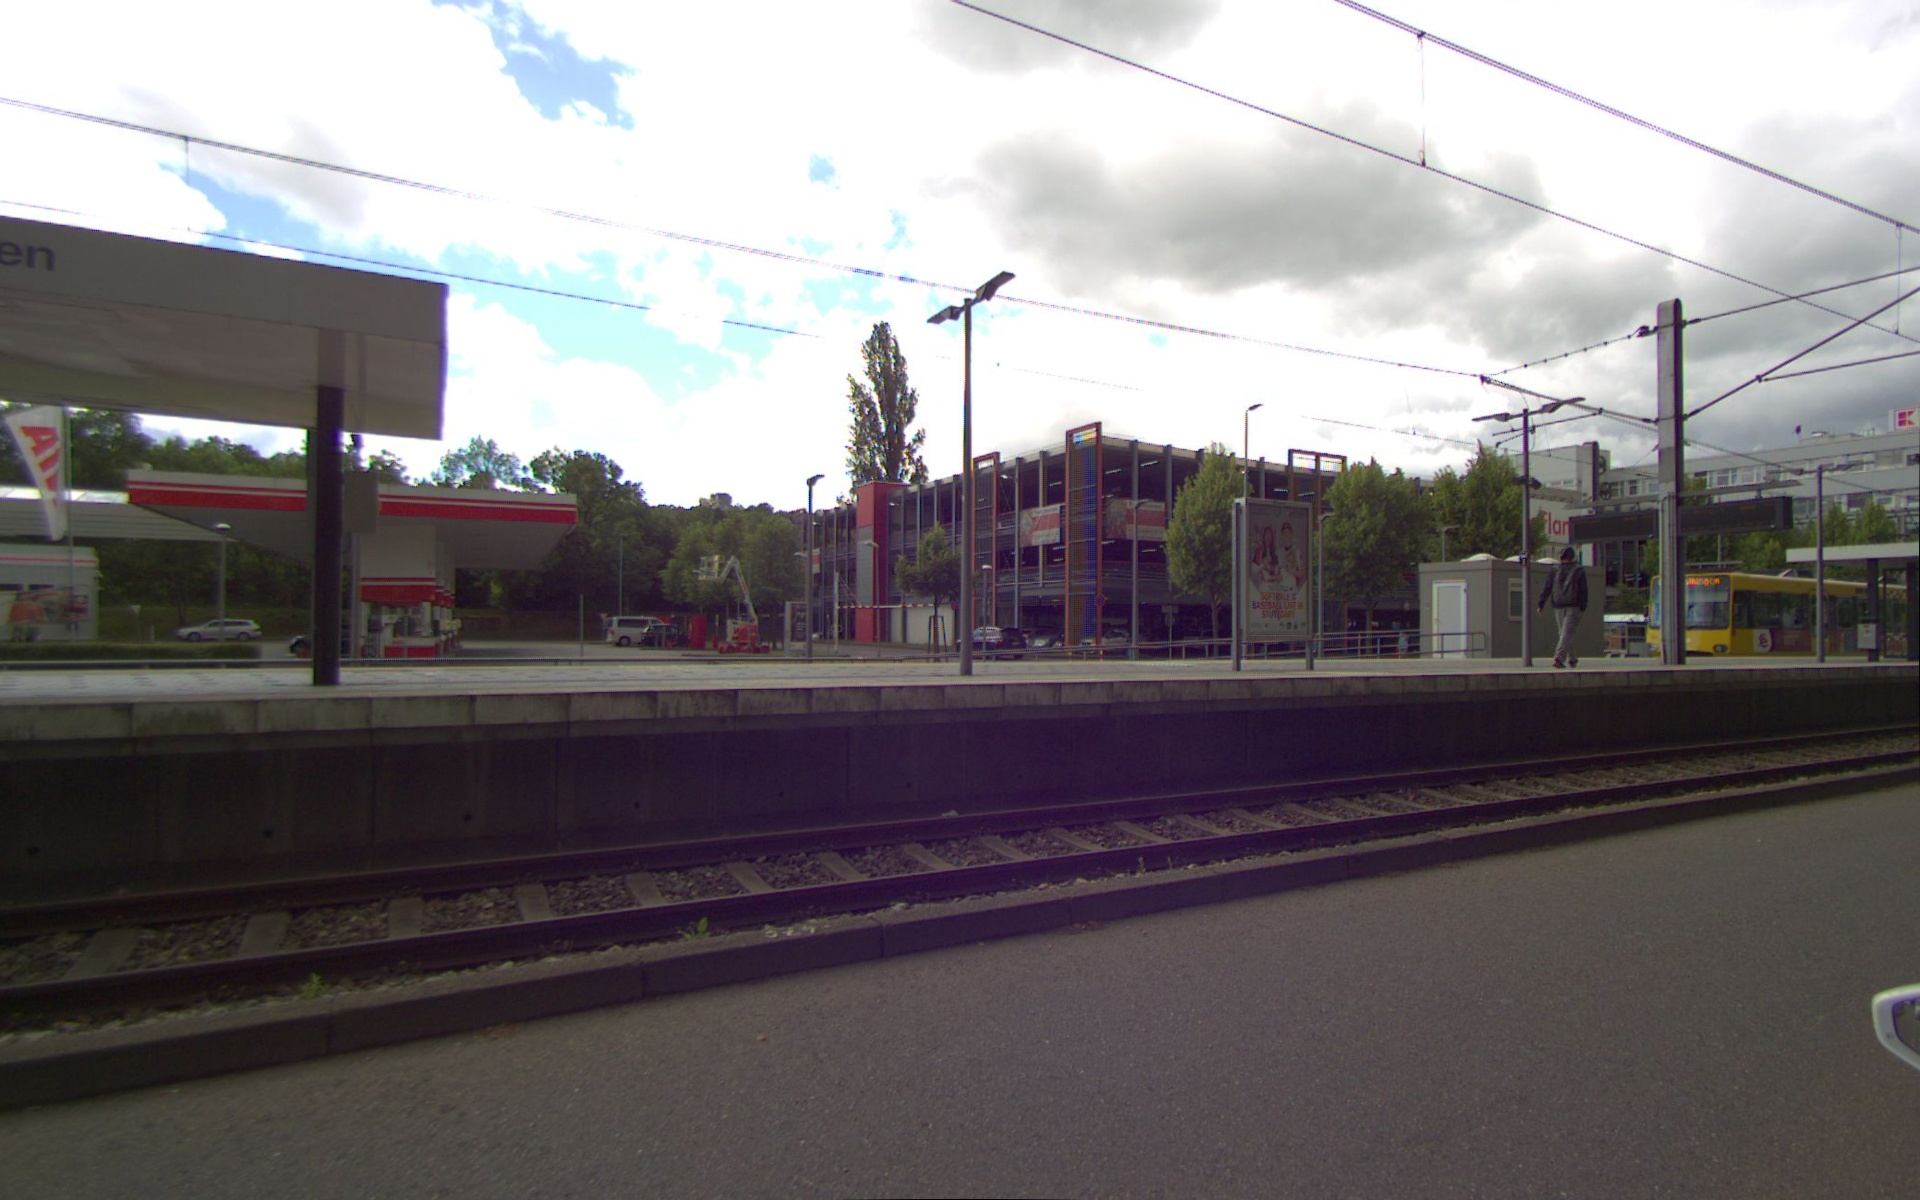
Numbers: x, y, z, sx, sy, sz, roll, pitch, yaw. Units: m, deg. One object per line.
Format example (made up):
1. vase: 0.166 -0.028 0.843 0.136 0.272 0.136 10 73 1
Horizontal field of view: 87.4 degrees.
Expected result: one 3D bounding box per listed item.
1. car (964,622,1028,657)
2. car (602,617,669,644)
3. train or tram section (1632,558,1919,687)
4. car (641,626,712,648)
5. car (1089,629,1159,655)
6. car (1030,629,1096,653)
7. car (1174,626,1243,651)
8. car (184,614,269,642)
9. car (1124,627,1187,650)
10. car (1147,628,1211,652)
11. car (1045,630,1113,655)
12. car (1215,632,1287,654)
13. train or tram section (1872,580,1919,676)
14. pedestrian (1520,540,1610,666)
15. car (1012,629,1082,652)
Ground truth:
1. car: 1.778 1.978 51.302 1.625 1.728 3.785 1 -2 -28
2. car: -21.961 2.103 68.011 4.014 1.775 1.900 2 -3 -32
3. train or tram section: 30.887 0.943 36.391 18.404 3.933 2.745 1 -3 -29
4. car: -18.182 2.383 64.468 4.013 1.383 1.900 2 -3 -31
5. car: 8.718 2.235 53.281 3.500 1.327 1.528 2 -3 -30
6. car: 5.859 2.327 56.904 3.500 1.327 1.527 1 -2 -30
7. car: 15.630 2.432 63.062 3.952 1.492 1.985 2 -3 -30
8. car: -48.090 1.873 65.901 4.405 1.728 1.895 2 -4 -38
9. car: 13.095 2.579 67.252 3.954 1.476 1.814 2 -2 -31
10. car: 14.227 2.585 65.183 3.954 1.476 1.814 2 -2 -31
11. car: 6.549 2.333 55.153 3.500 1.327 1.528 2 -3 -30
12. car: 17.443 2.591 60.136 3.952 1.327 1.985 2 -3 -30
13. train or tram section: 46.921 1.420 45.316 18.404 3.878 2.745 2 -3 -29
14. pedestrian: 8.801 0.067 14.629 0.926 1.767 0.745 1 -3 -30
15. car: 5.131 2.386 59.395 3.754 1.327 1.842 1 -2 -30
